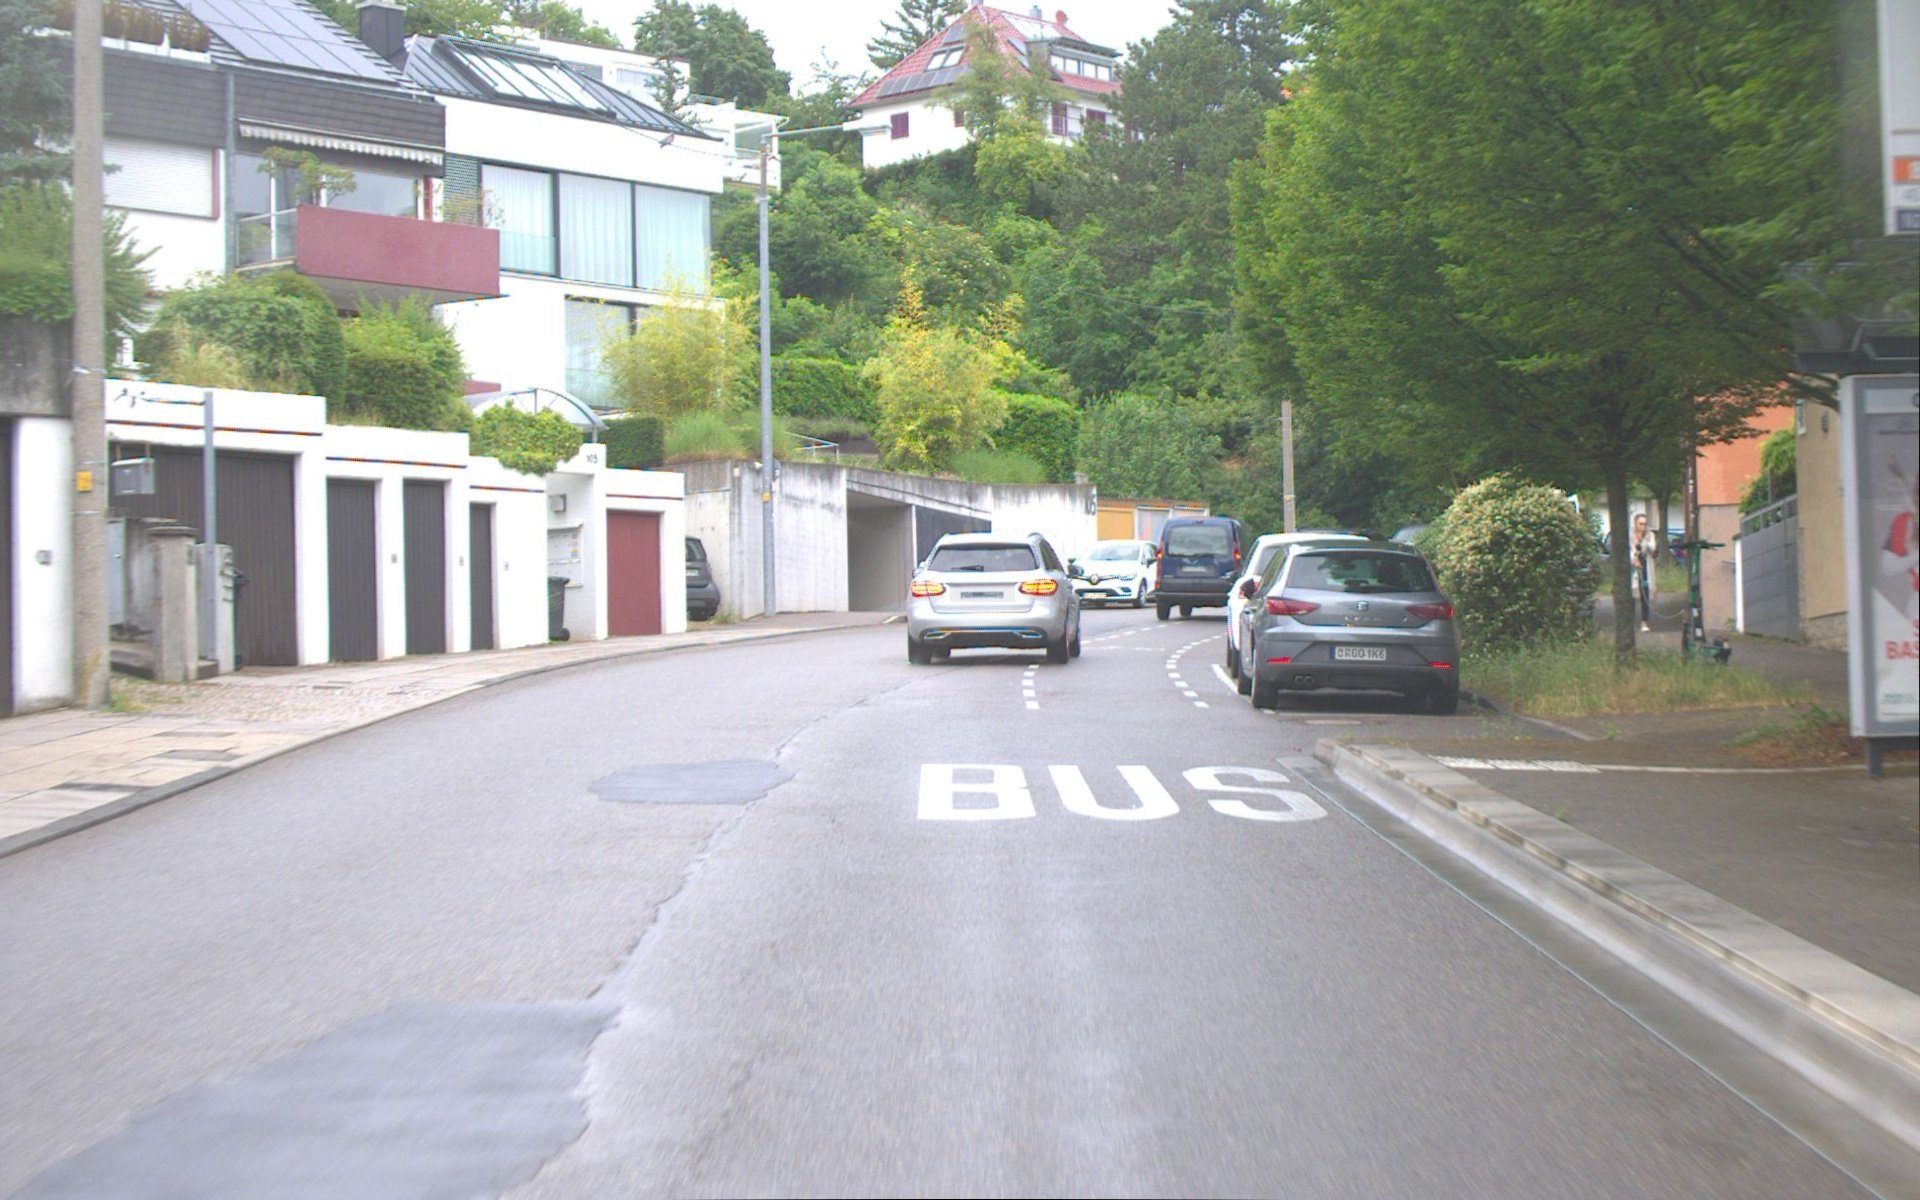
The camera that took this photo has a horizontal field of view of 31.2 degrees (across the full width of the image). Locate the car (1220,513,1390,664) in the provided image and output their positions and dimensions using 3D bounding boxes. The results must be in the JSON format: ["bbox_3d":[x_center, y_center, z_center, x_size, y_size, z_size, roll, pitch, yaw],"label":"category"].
[{"bbox_3d":[3.626,-0.165,36.610,1.657,1.484,4.000,1,2,4],"label":"car"}]

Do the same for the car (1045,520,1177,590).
[{"bbox_3d":[3.266,-0.982,73.654,1.834,1.435,4.037,-1,1,17],"label":"car"}]

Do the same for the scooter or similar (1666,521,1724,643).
[{"bbox_3d":[7.630,-0.195,35.703,0.413,1.241,1.175,-1,1,4],"label":"scooter or similar"}]

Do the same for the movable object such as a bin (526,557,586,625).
[{"bbox_3d":[-5.775,-0.134,49.142,0.544,0.960,0.644,1,2,40],"label":"movable object such as a bin"}]

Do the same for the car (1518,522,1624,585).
[{"bbox_3d":[14.970,-1.155,84.129,1.670,1.466,3.705,2,2,24],"label":"car"}]

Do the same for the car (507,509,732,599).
[{"bbox_3d":[-6.048,-0.830,60.776,3.928,1.473,1.763,3,3,42],"label":"car"}]

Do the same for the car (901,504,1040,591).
[{"bbox_3d":[0.227,-0.974,62.389,1.628,1.510,3.830,-1,1,14],"label":"car"}]

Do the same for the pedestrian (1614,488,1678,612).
[{"bbox_3d":[9.808,-0.721,49.168,0.760,1.714,0.902,-3,1,9],"label":"pedestrian"}]

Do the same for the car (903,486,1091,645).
[{"bbox_3d":[0.398,-0.416,39.172,2.025,1.702,4.216,0,1,0],"label":"car"}]

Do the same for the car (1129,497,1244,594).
[{"bbox_3d":[4.116,-0.992,62.010,1.994,1.702,4.000,0,1,5],"label":"car"}]

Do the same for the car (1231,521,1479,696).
[{"bbox_3d":[3.414,0.016,30.428,1.878,1.411,4.468,0,2,3],"label":"car"}]

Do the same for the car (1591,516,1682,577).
[{"bbox_3d":[17.793,-1.416,90.351,1.629,1.557,3.018,1,2,26],"label":"car"}]

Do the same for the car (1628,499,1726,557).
[{"bbox_3d":[19.542,-1.982,93.628,1.656,1.514,3.995,1,2,27],"label":"car"}]

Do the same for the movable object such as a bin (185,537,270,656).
[{"bbox_3d":[-7.145,-0.032,33.533,0.528,1.142,0.599,1,0,44],"label":"movable object such as a bin"}]
